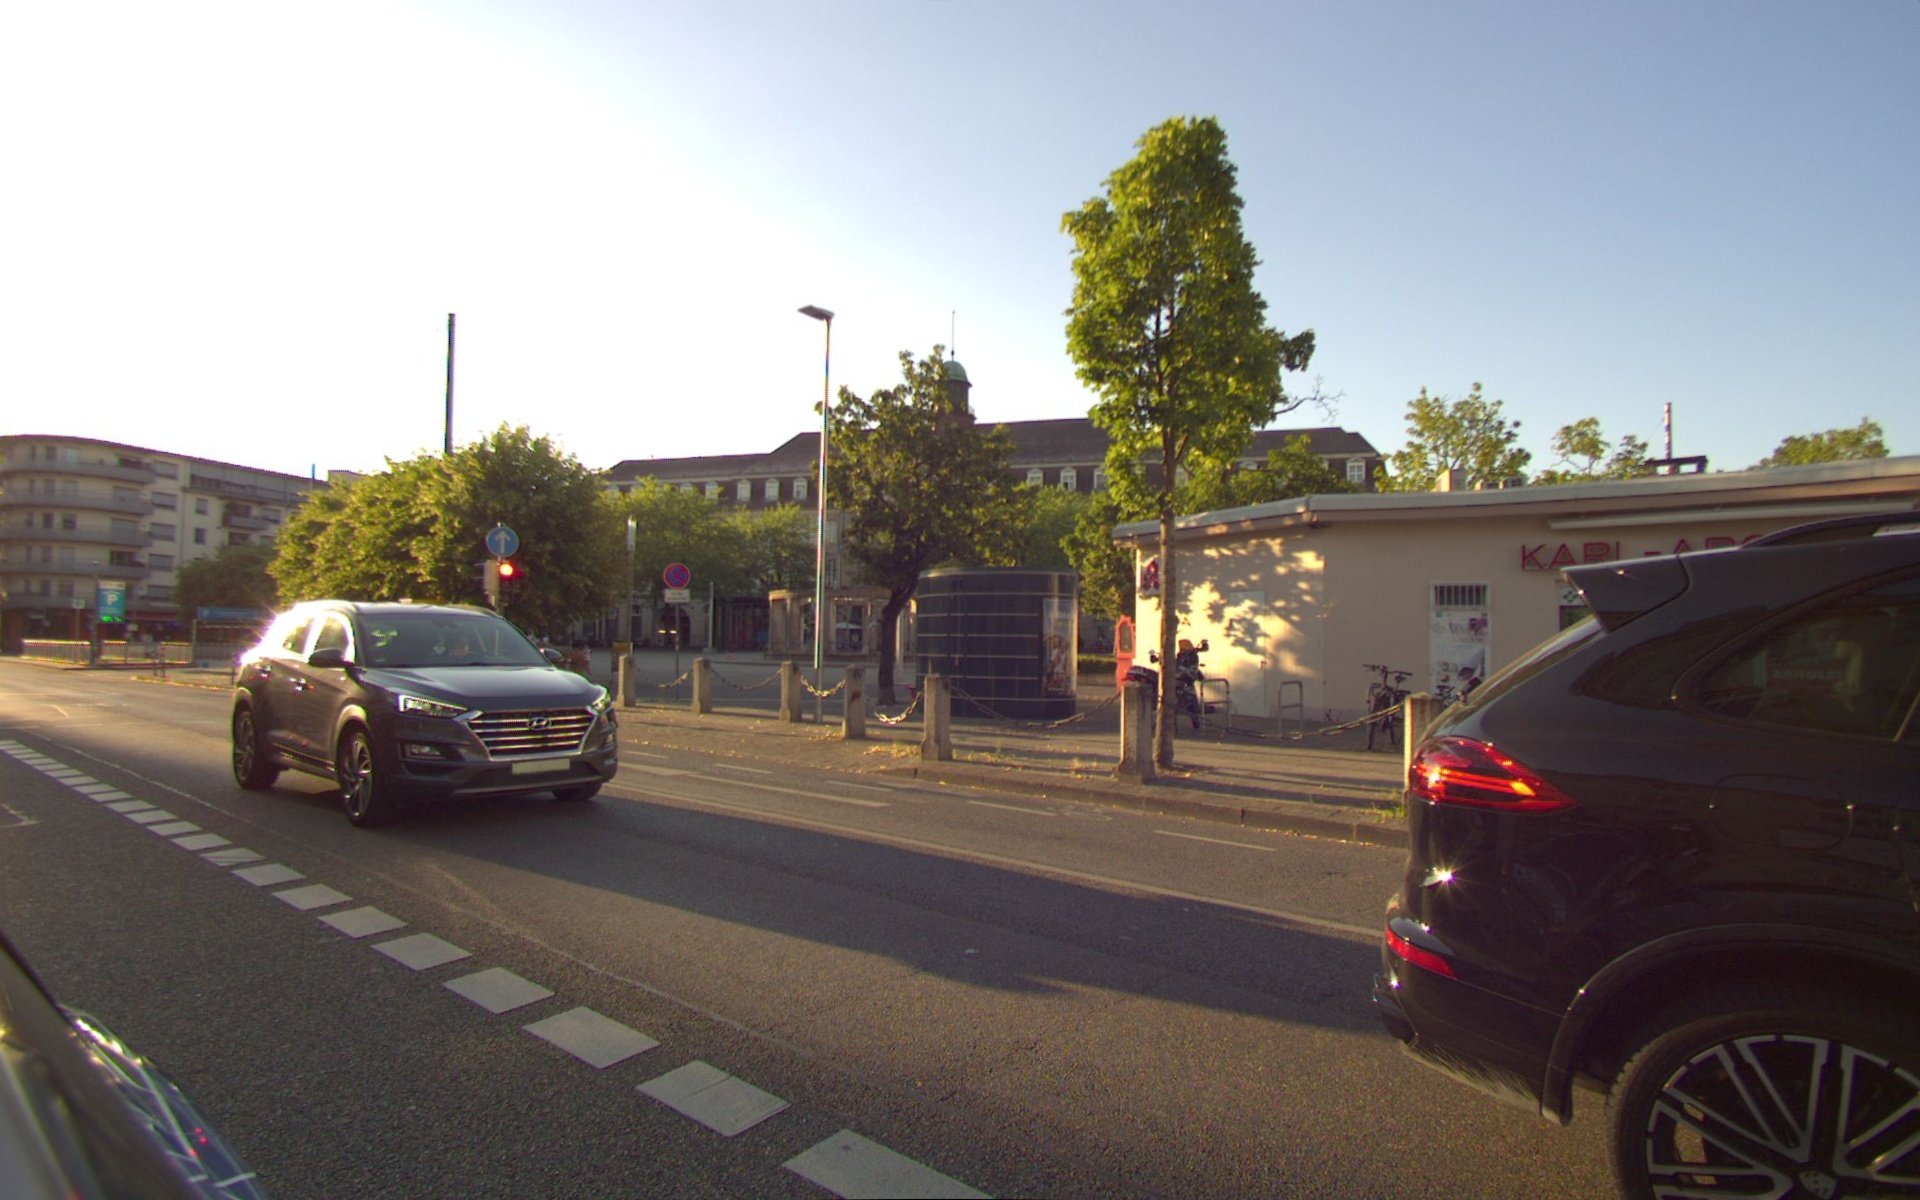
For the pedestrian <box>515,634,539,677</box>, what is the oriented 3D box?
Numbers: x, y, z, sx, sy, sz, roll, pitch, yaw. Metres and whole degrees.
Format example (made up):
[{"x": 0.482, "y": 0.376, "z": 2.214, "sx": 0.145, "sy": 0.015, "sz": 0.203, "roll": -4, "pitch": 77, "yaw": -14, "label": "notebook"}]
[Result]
[{"x": -16.891, "y": 2.160, "z": 39.513, "sx": 0.693, "sy": 1.633, "sz": 0.843, "roll": 1, "pitch": -2, "yaw": -12, "label": "pedestrian"}]

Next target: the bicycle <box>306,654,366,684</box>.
[{"x": -21.263, "y": 2.340, "z": 34.513, "sx": 0.548, "sy": 0.986, "sz": 1.658, "roll": -2, "pitch": -2, "yaw": 36, "label": "bicycle"}]

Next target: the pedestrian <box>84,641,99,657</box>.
[{"x": -74.143, "y": 4.156, "z": 86.391, "sx": 0.887, "sy": 1.332, "sz": 0.723, "roll": -2, "pitch": -3, "yaw": 38, "label": "pedestrian"}]

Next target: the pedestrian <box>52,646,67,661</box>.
[{"x": -74.484, "y": 4.398, "z": 83.675, "sx": 0.875, "sy": 1.201, "sz": 0.734, "roll": 2, "pitch": -4, "yaw": -40, "label": "pedestrian"}]

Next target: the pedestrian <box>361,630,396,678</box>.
[{"x": -22.846, "y": 2.128, "z": 39.794, "sx": 0.937, "sy": 1.831, "sz": 0.828, "roll": 1, "pitch": -3, "yaw": -13, "label": "pedestrian"}]

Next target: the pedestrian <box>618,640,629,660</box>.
[{"x": -18.228, "y": 2.702, "z": 54.859, "sx": 0.454, "sy": 1.071, "sz": 0.531, "roll": 0, "pitch": -3, "yaw": -30, "label": "pedestrian"}]

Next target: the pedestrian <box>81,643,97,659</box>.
[{"x": -74.683, "y": 4.351, "z": 86.756, "sx": 0.814, "sy": 1.332, "sz": 0.684, "roll": -1, "pitch": -3, "yaw": 16, "label": "pedestrian"}]

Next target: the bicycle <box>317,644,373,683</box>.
[{"x": -20.807, "y": 2.140, "z": 34.250, "sx": 0.444, "sy": 1.262, "sz": 1.571, "roll": -2, "pitch": -2, "yaw": 38, "label": "bicycle"}]

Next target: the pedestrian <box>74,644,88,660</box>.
[{"x": -74.504, "y": 4.434, "z": 85.804, "sx": 0.888, "sy": 1.332, "sz": 0.723, "roll": -2, "pitch": -4, "yaw": 39, "label": "pedestrian"}]

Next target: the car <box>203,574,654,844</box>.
[{"x": -4.667, "y": 0.803, "z": 8.591, "sx": 4.447, "sy": 1.702, "sz": 1.853, "roll": -2, "pitch": -5, "yaw": 41, "label": "car"}]

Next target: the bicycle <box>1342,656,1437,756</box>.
[{"x": 5.847, "y": 1.396, "z": 13.728, "sx": 0.632, "sy": 1.266, "sz": 1.834, "roll": -2, "pitch": -4, "yaw": 41, "label": "bicycle"}]

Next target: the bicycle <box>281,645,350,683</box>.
[{"x": -22.928, "y": 2.262, "z": 36.018, "sx": 0.548, "sy": 1.262, "sz": 2.007, "roll": -2, "pitch": -2, "yaw": 36, "label": "bicycle"}]

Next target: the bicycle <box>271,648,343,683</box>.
[{"x": -22.263, "y": 2.223, "z": 34.530, "sx": 0.548, "sy": 1.143, "sz": 2.007, "roll": -2, "pitch": -2, "yaw": 36, "label": "bicycle"}]

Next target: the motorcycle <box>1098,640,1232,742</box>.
[{"x": 3.191, "y": 1.359, "z": 15.557, "sx": 0.868, "sy": 1.440, "sz": 2.554, "roll": -2, "pitch": -4, "yaw": 41, "label": "motorcycle"}]

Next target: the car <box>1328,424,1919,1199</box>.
[{"x": 3.246, "y": 0.566, "z": 1.721, "sx": 4.557, "sy": 1.727, "sz": 1.929, "roll": -2, "pitch": -4, "yaw": 39, "label": "car"}]
